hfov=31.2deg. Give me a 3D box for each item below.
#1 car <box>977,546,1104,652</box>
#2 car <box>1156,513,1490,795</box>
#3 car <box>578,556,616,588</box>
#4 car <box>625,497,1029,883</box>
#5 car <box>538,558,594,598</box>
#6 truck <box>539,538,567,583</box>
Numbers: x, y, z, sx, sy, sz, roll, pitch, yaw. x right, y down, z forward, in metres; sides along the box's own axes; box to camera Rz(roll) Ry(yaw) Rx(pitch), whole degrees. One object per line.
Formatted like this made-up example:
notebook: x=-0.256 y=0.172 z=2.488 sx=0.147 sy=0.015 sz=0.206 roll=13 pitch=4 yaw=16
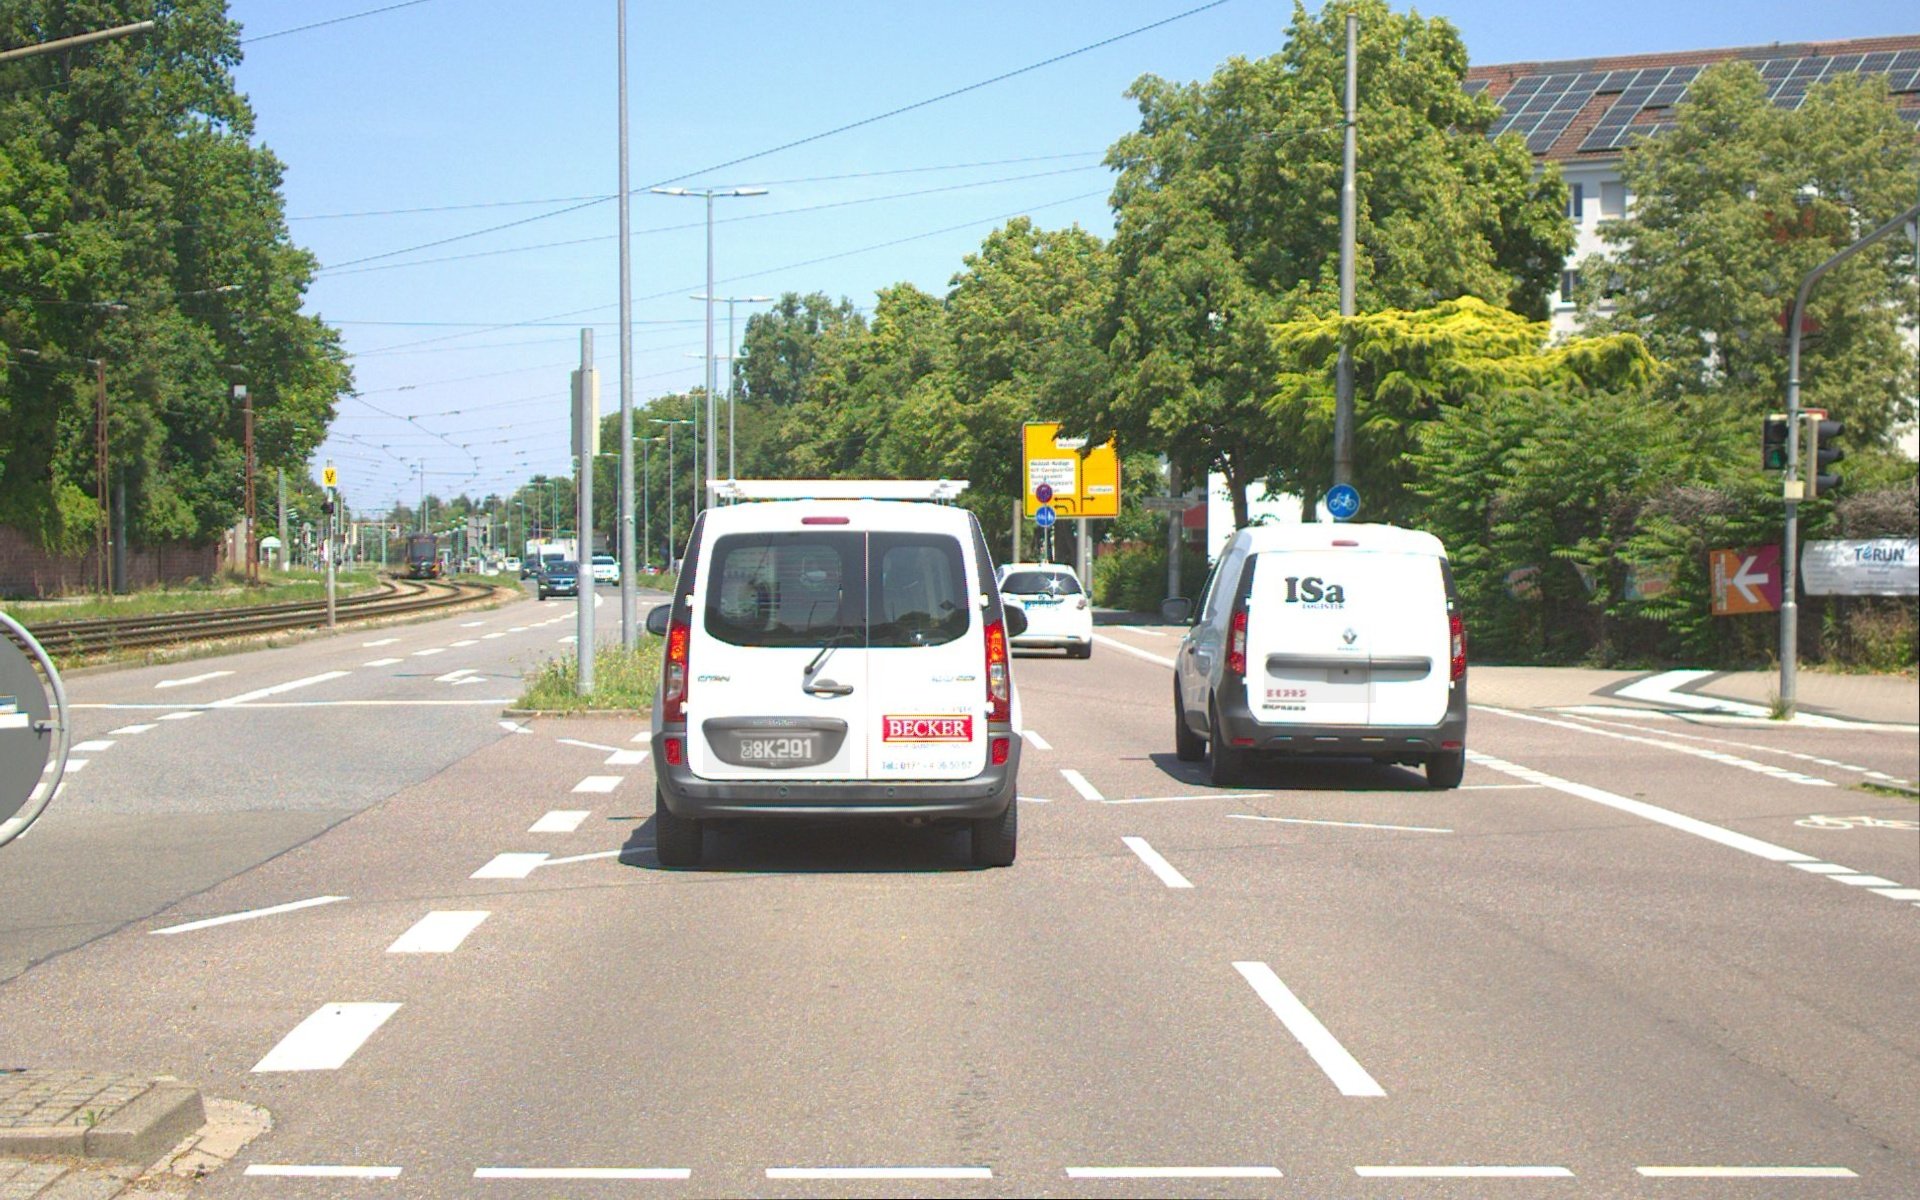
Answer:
car: x=1.275 y=-0.044 z=56.114 sx=1.835 sy=1.563 sz=4.001 roll=2 pitch=1 yaw=-2
car: x=2.483 y=0.328 z=24.445 sx=1.727 sy=1.782 sz=4.065 roll=2 pitch=1 yaw=-2
car: x=-21.574 y=-1.665 z=204.289 sx=1.993 sy=1.809 sz=4.001 roll=0 pitch=1 yaw=-2
car: x=-0.671 y=0.378 z=18.062 sx=1.821 sy=1.733 sz=4.396 roll=2 pitch=1 yaw=-1
car: x=-15.262 y=-0.868 z=133.435 sx=1.697 sy=1.507 sz=4.066 roll=0 pitch=1 yaw=0
truck: x=-29.602 y=-2.893 z=250.021 sx=1.993 sy=3.202 sz=5.313 roll=0 pitch=1 yaw=-7
